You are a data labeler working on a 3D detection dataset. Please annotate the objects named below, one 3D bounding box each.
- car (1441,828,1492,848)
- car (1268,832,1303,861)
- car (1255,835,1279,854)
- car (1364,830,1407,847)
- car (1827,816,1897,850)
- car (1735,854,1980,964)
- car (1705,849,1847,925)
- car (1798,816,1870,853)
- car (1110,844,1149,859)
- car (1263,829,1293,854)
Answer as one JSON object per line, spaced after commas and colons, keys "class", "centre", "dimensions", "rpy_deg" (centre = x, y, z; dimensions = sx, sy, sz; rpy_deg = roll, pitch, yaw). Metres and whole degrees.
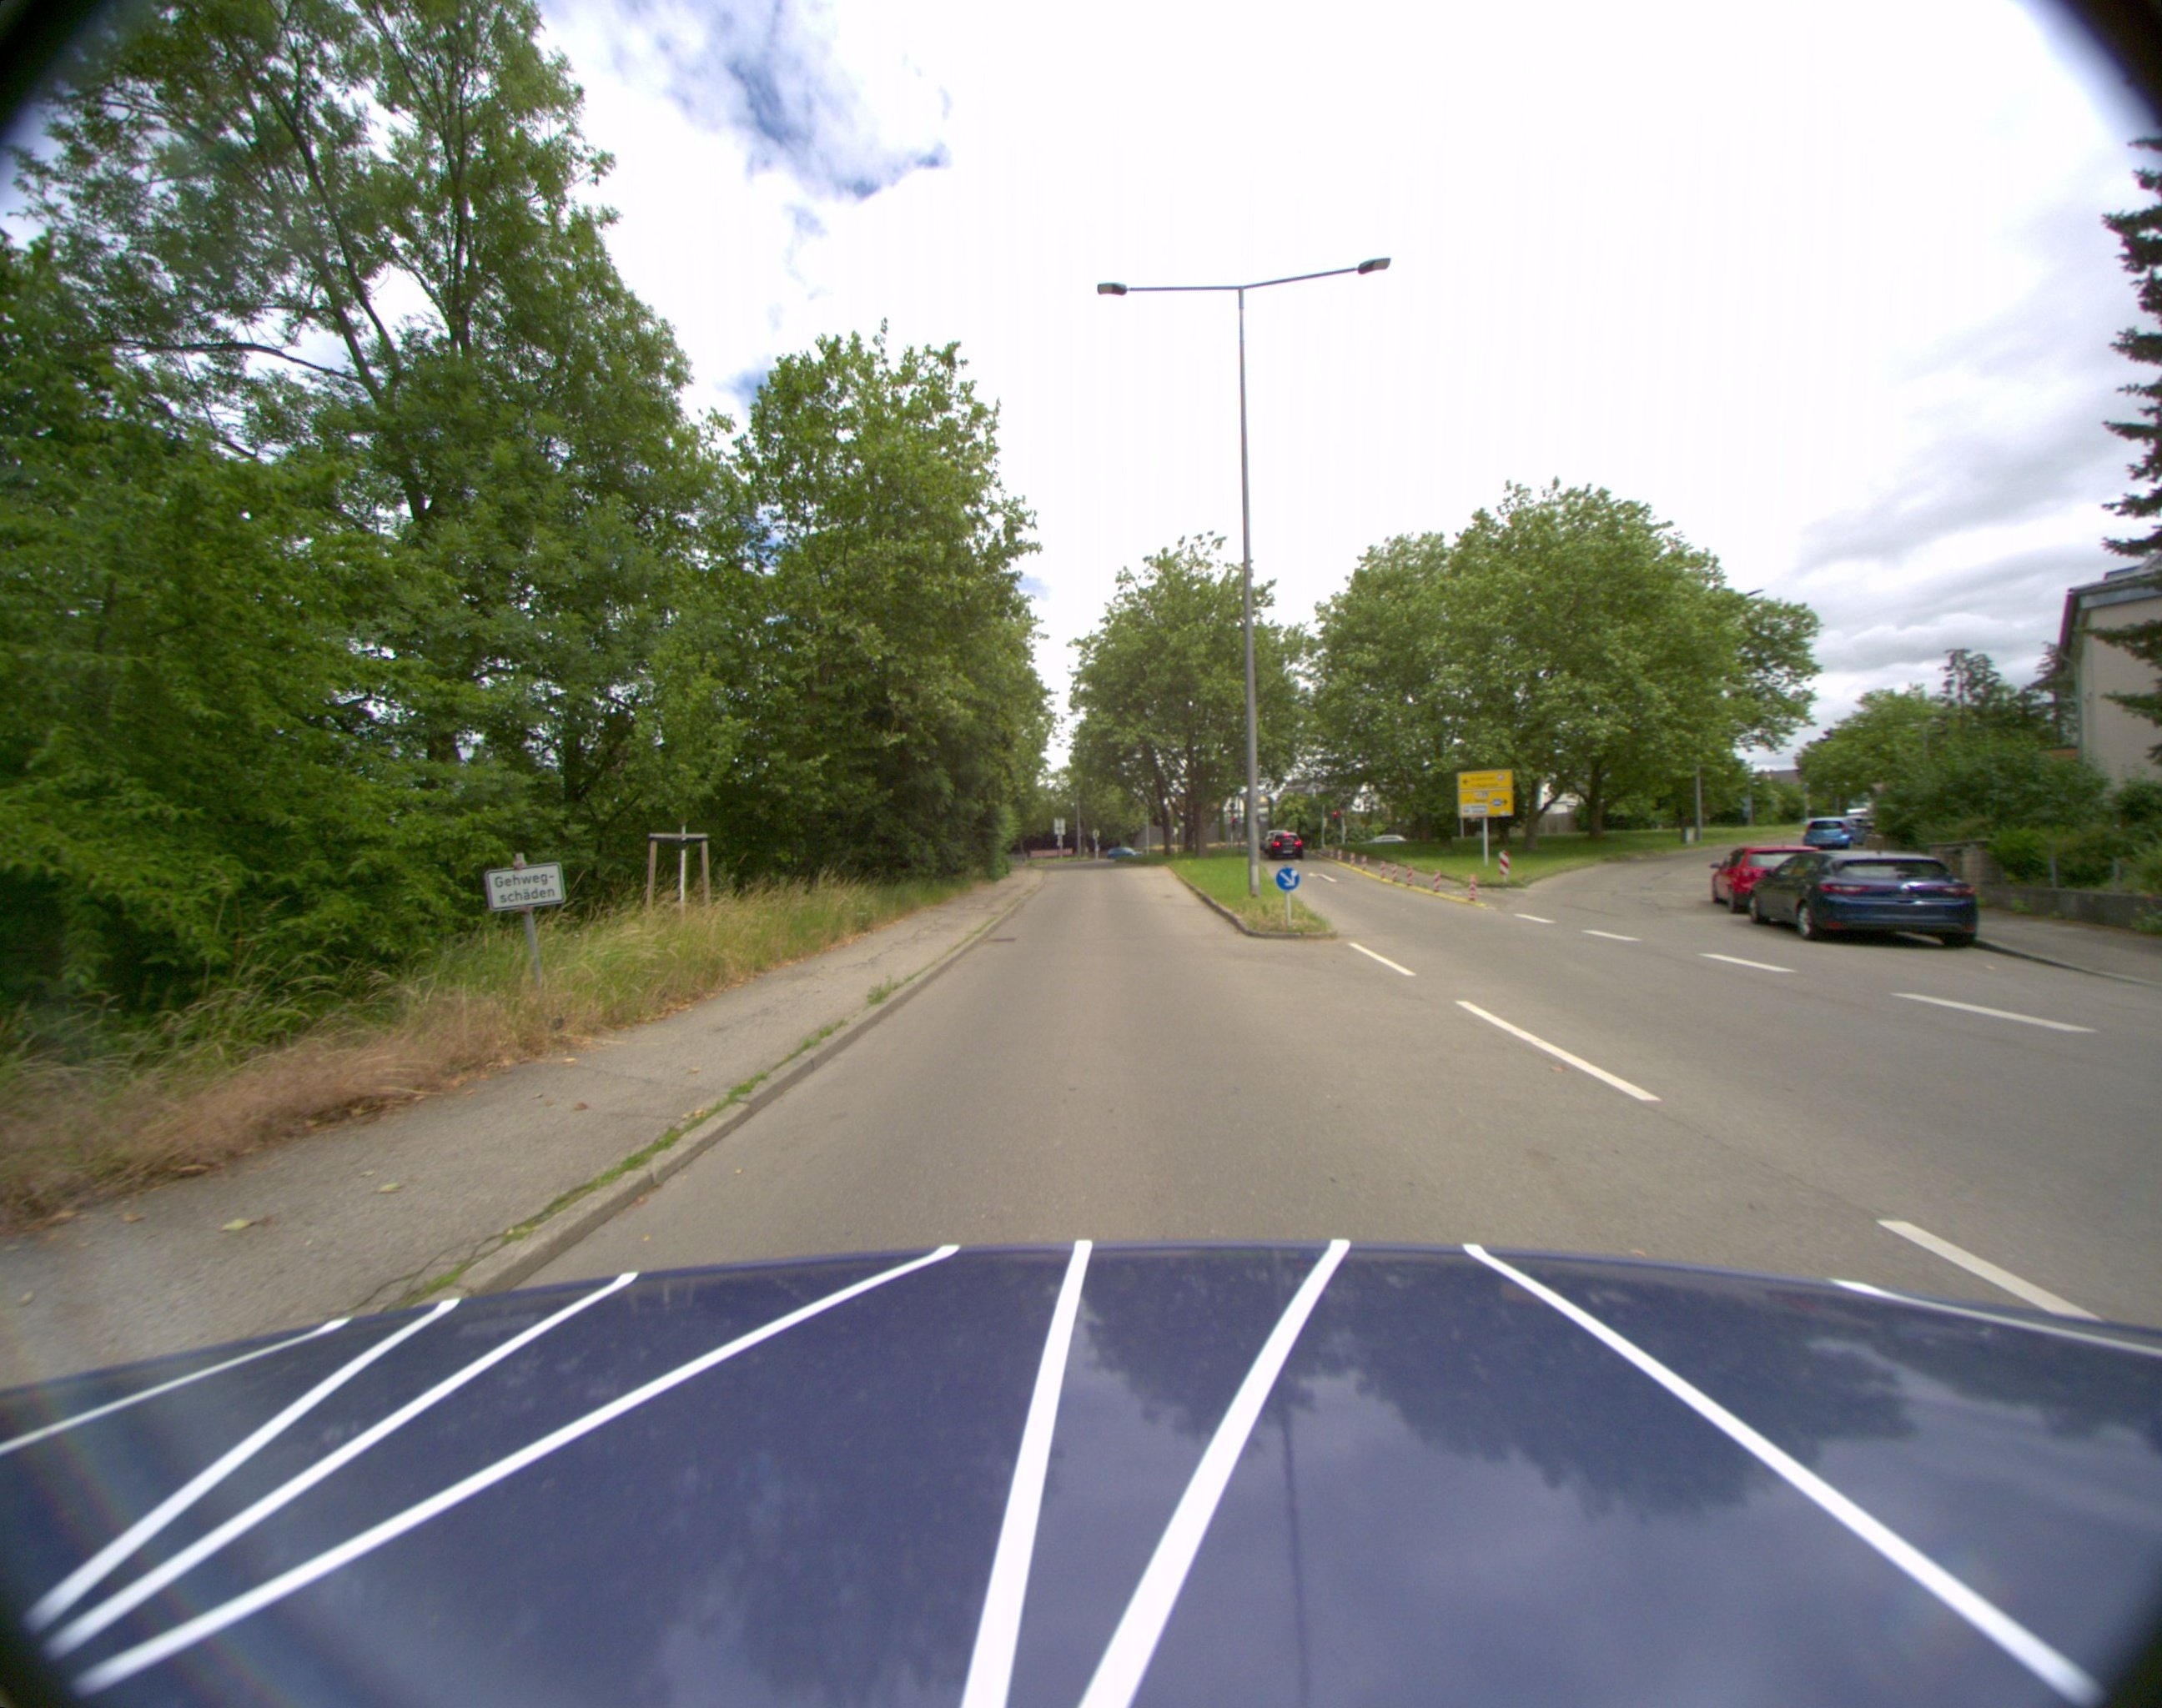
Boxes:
{"class": "car", "centre": [32.490, -1.341, 63.991], "dimensions": [3.636, 1.515, 1.654], "rpy_deg": [2, 0, 32]}
{"class": "car", "centre": [12.704, -0.499, 47.410], "dimensions": [1.760, 1.583, 4.615], "rpy_deg": [-2, 3, 12]}
{"class": "car", "centre": [15.844, -0.807, 64.843], "dimensions": [1.760, 1.508, 4.390], "rpy_deg": [-2, 1, 12]}
{"class": "car", "centre": [29.916, -1.478, 74.719], "dimensions": [3.636, 1.520, 1.654], "rpy_deg": [-1, -1, 32]}
{"class": "car", "centre": [41.619, -1.134, 40.474], "dimensions": [4.002, 1.505, 1.658], "rpy_deg": [-4, 0, -31]}
{"class": "car", "centre": [12.955, 0.790, 13.042], "dimensions": [1.728, 1.465, 4.322], "rpy_deg": [-1, 1, 28]}
{"class": "car", "centre": [15.809, 0.664, 17.515], "dimensions": [1.728, 1.465, 4.287], "rpy_deg": [-1, 1, 33]}
{"class": "car", "centre": [37.562, -0.974, 37.901], "dimensions": [3.784, 1.545, 1.779], "rpy_deg": [-4, 0, -34]}
{"class": "car", "centre": [5.490, -0.227, 86.253], "dimensions": [4.136, 1.419, 1.802], "rpy_deg": [-3, -4, 42]}
{"class": "car", "centre": [14.751, -0.902, 57.039], "dimensions": [1.854, 1.648, 4.912], "rpy_deg": [-2, -1, 12]}
